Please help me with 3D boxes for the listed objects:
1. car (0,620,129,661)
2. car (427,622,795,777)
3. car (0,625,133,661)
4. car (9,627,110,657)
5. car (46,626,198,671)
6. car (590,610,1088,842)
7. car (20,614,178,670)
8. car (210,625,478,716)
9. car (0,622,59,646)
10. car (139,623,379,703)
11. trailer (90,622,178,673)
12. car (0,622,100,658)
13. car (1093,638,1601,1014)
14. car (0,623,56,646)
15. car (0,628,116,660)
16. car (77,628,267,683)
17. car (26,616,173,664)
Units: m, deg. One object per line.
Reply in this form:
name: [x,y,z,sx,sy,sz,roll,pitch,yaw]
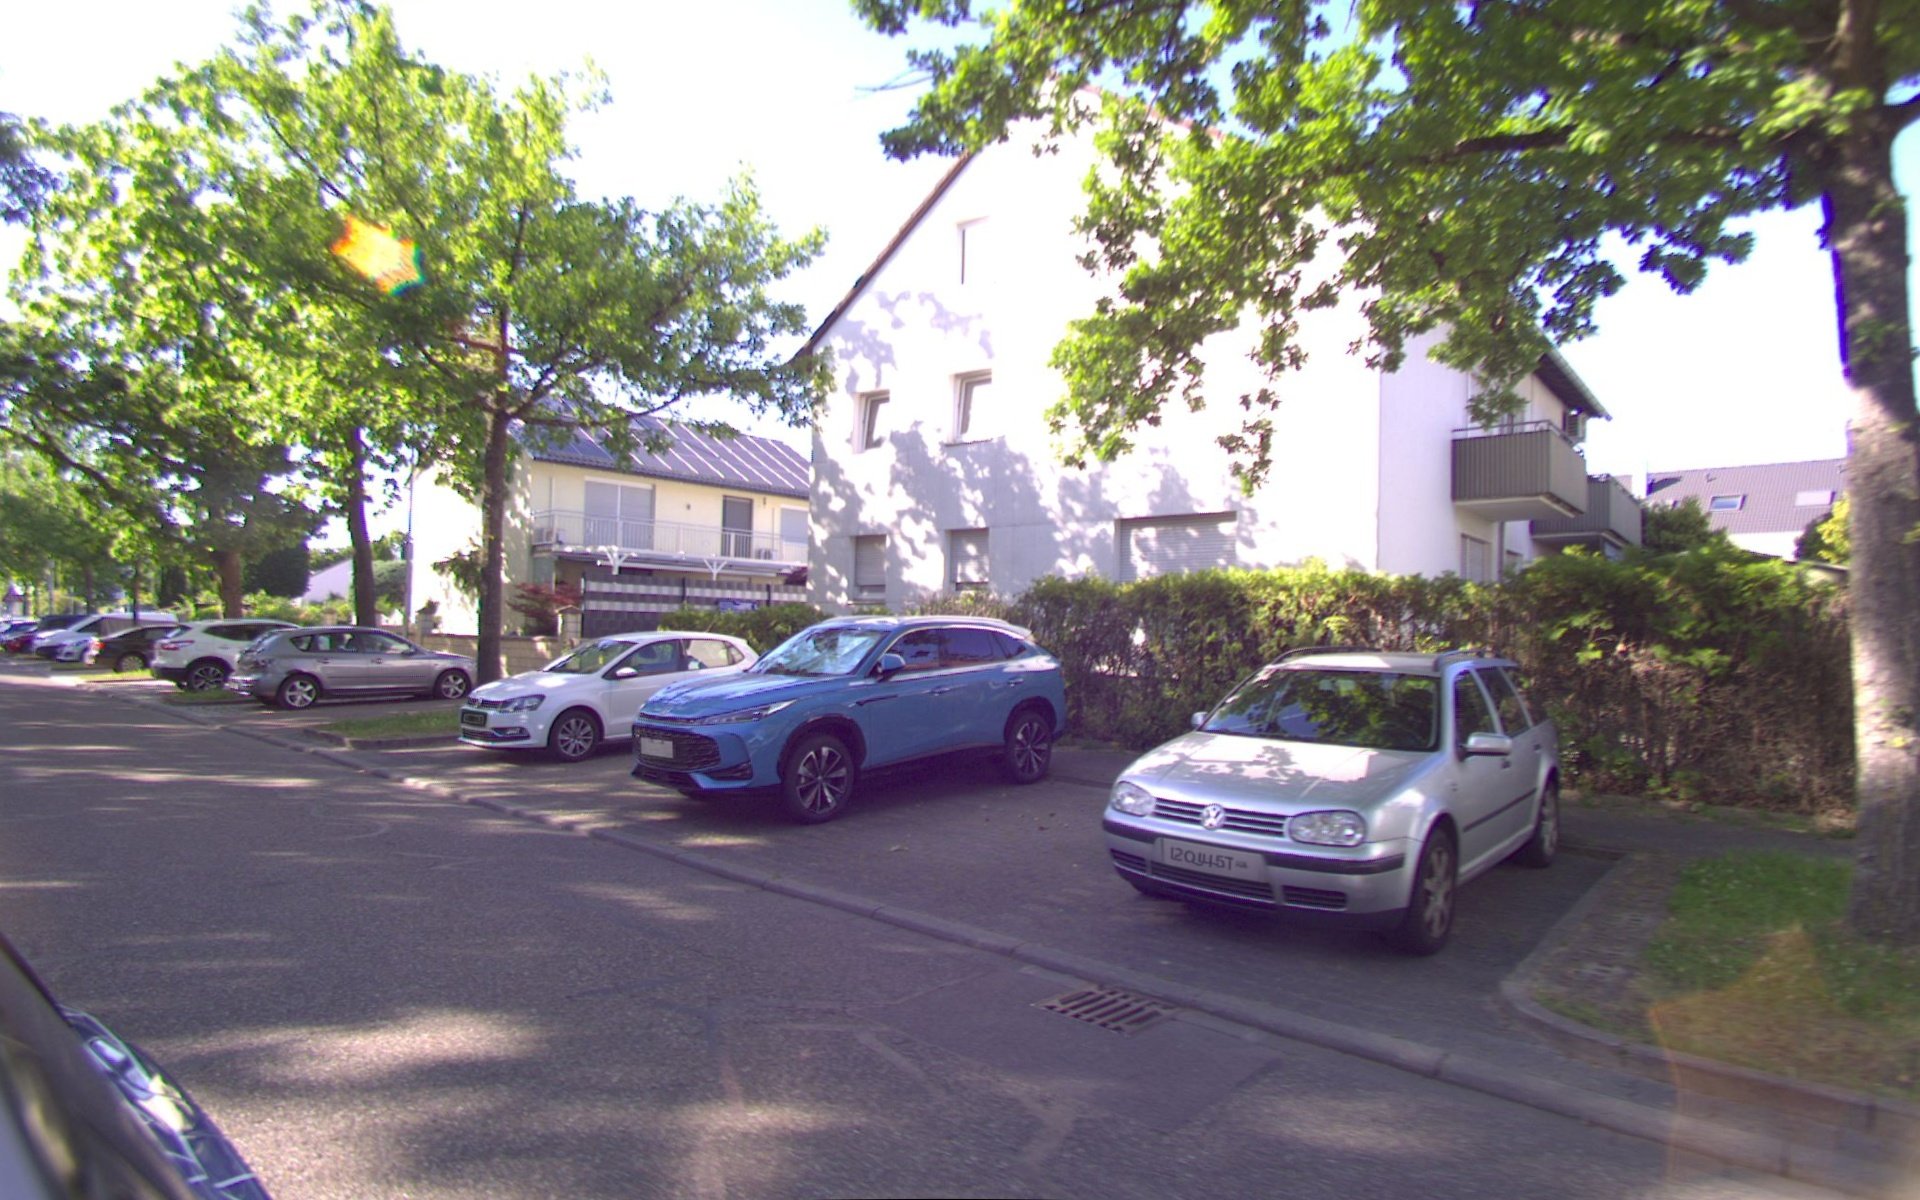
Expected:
car: [-41.404,1.814,46.613,1.795,1.782,4.623,-2,-2,42]
car: [-4.237,1.175,12.763,1.857,1.608,3.944,-1,-4,42]
car: [-39.688,1.928,44.889,1.837,1.511,4.427,-1,-3,43]
car: [-49.082,2.309,55.175,1.796,1.526,3.955,-2,-4,45]
car: [-30.236,1.738,36.587,1.689,1.528,3.947,-1,-3,39]
car: [-0.892,0.969,9.527,1.937,1.643,4.474,-1,-2,43]
car: [-32.413,1.607,38.209,1.998,1.959,4.193,-1,-4,40]
car: [-11.549,1.243,19.180,1.809,1.434,3.993,-1,-1,40]
car: [-64.244,2.295,68.969,1.919,1.586,3.916,0,-1,37]
car: [-15.565,1.321,22.630,1.792,1.579,4.141,-1,-2,43]
trailer: [-28.601,1.648,35.061,2.209,1.686,1.476,3,-3,-44]
car: [-46.834,2.020,51.777,1.761,1.737,4.163,-1,-2,43]
car: [2.661,1.008,6.292,1.646,1.503,4.139,-1,-2,41]
car: [-62.734,2.292,67.463,1.708,1.507,3.476,-2,-3,42]
car: [-43.537,2.065,48.721,1.721,1.435,4.230,-1,-2,38]
car: [-22.977,1.599,29.620,1.691,1.483,4.162,-1,-3,44]
car: [-34.295,1.557,40.410,1.966,1.783,4.195,-1,-2,40]
